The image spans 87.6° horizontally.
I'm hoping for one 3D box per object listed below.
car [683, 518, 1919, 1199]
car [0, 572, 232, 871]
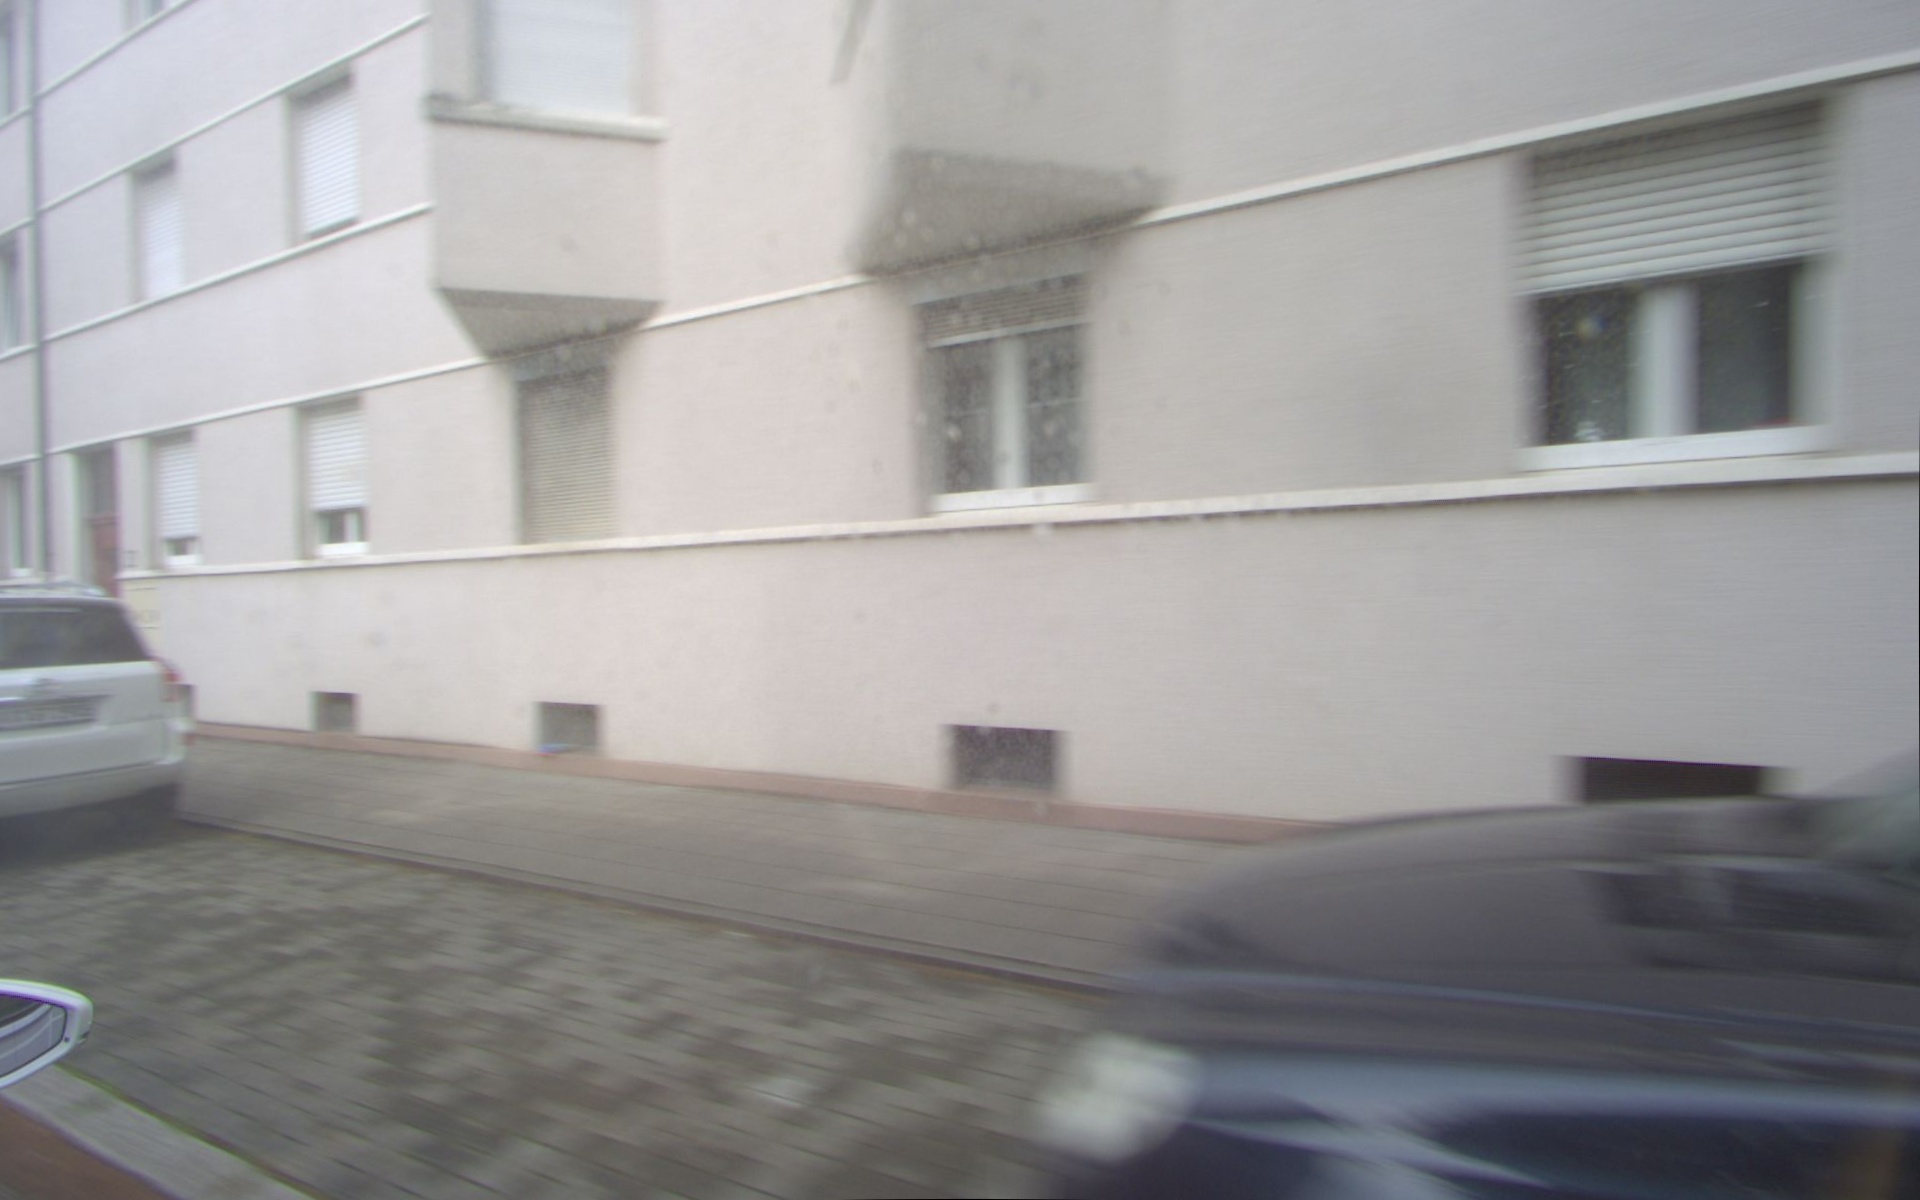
[{"bbox_3d":[2.073,0.630,1.335,4.873,1.440,1.743,0,1,29],"label":"car"},{"bbox_3d":[-7.196,0.696,6.903,4.222,1.696,1.841,0,1,28],"label":"car"}]
